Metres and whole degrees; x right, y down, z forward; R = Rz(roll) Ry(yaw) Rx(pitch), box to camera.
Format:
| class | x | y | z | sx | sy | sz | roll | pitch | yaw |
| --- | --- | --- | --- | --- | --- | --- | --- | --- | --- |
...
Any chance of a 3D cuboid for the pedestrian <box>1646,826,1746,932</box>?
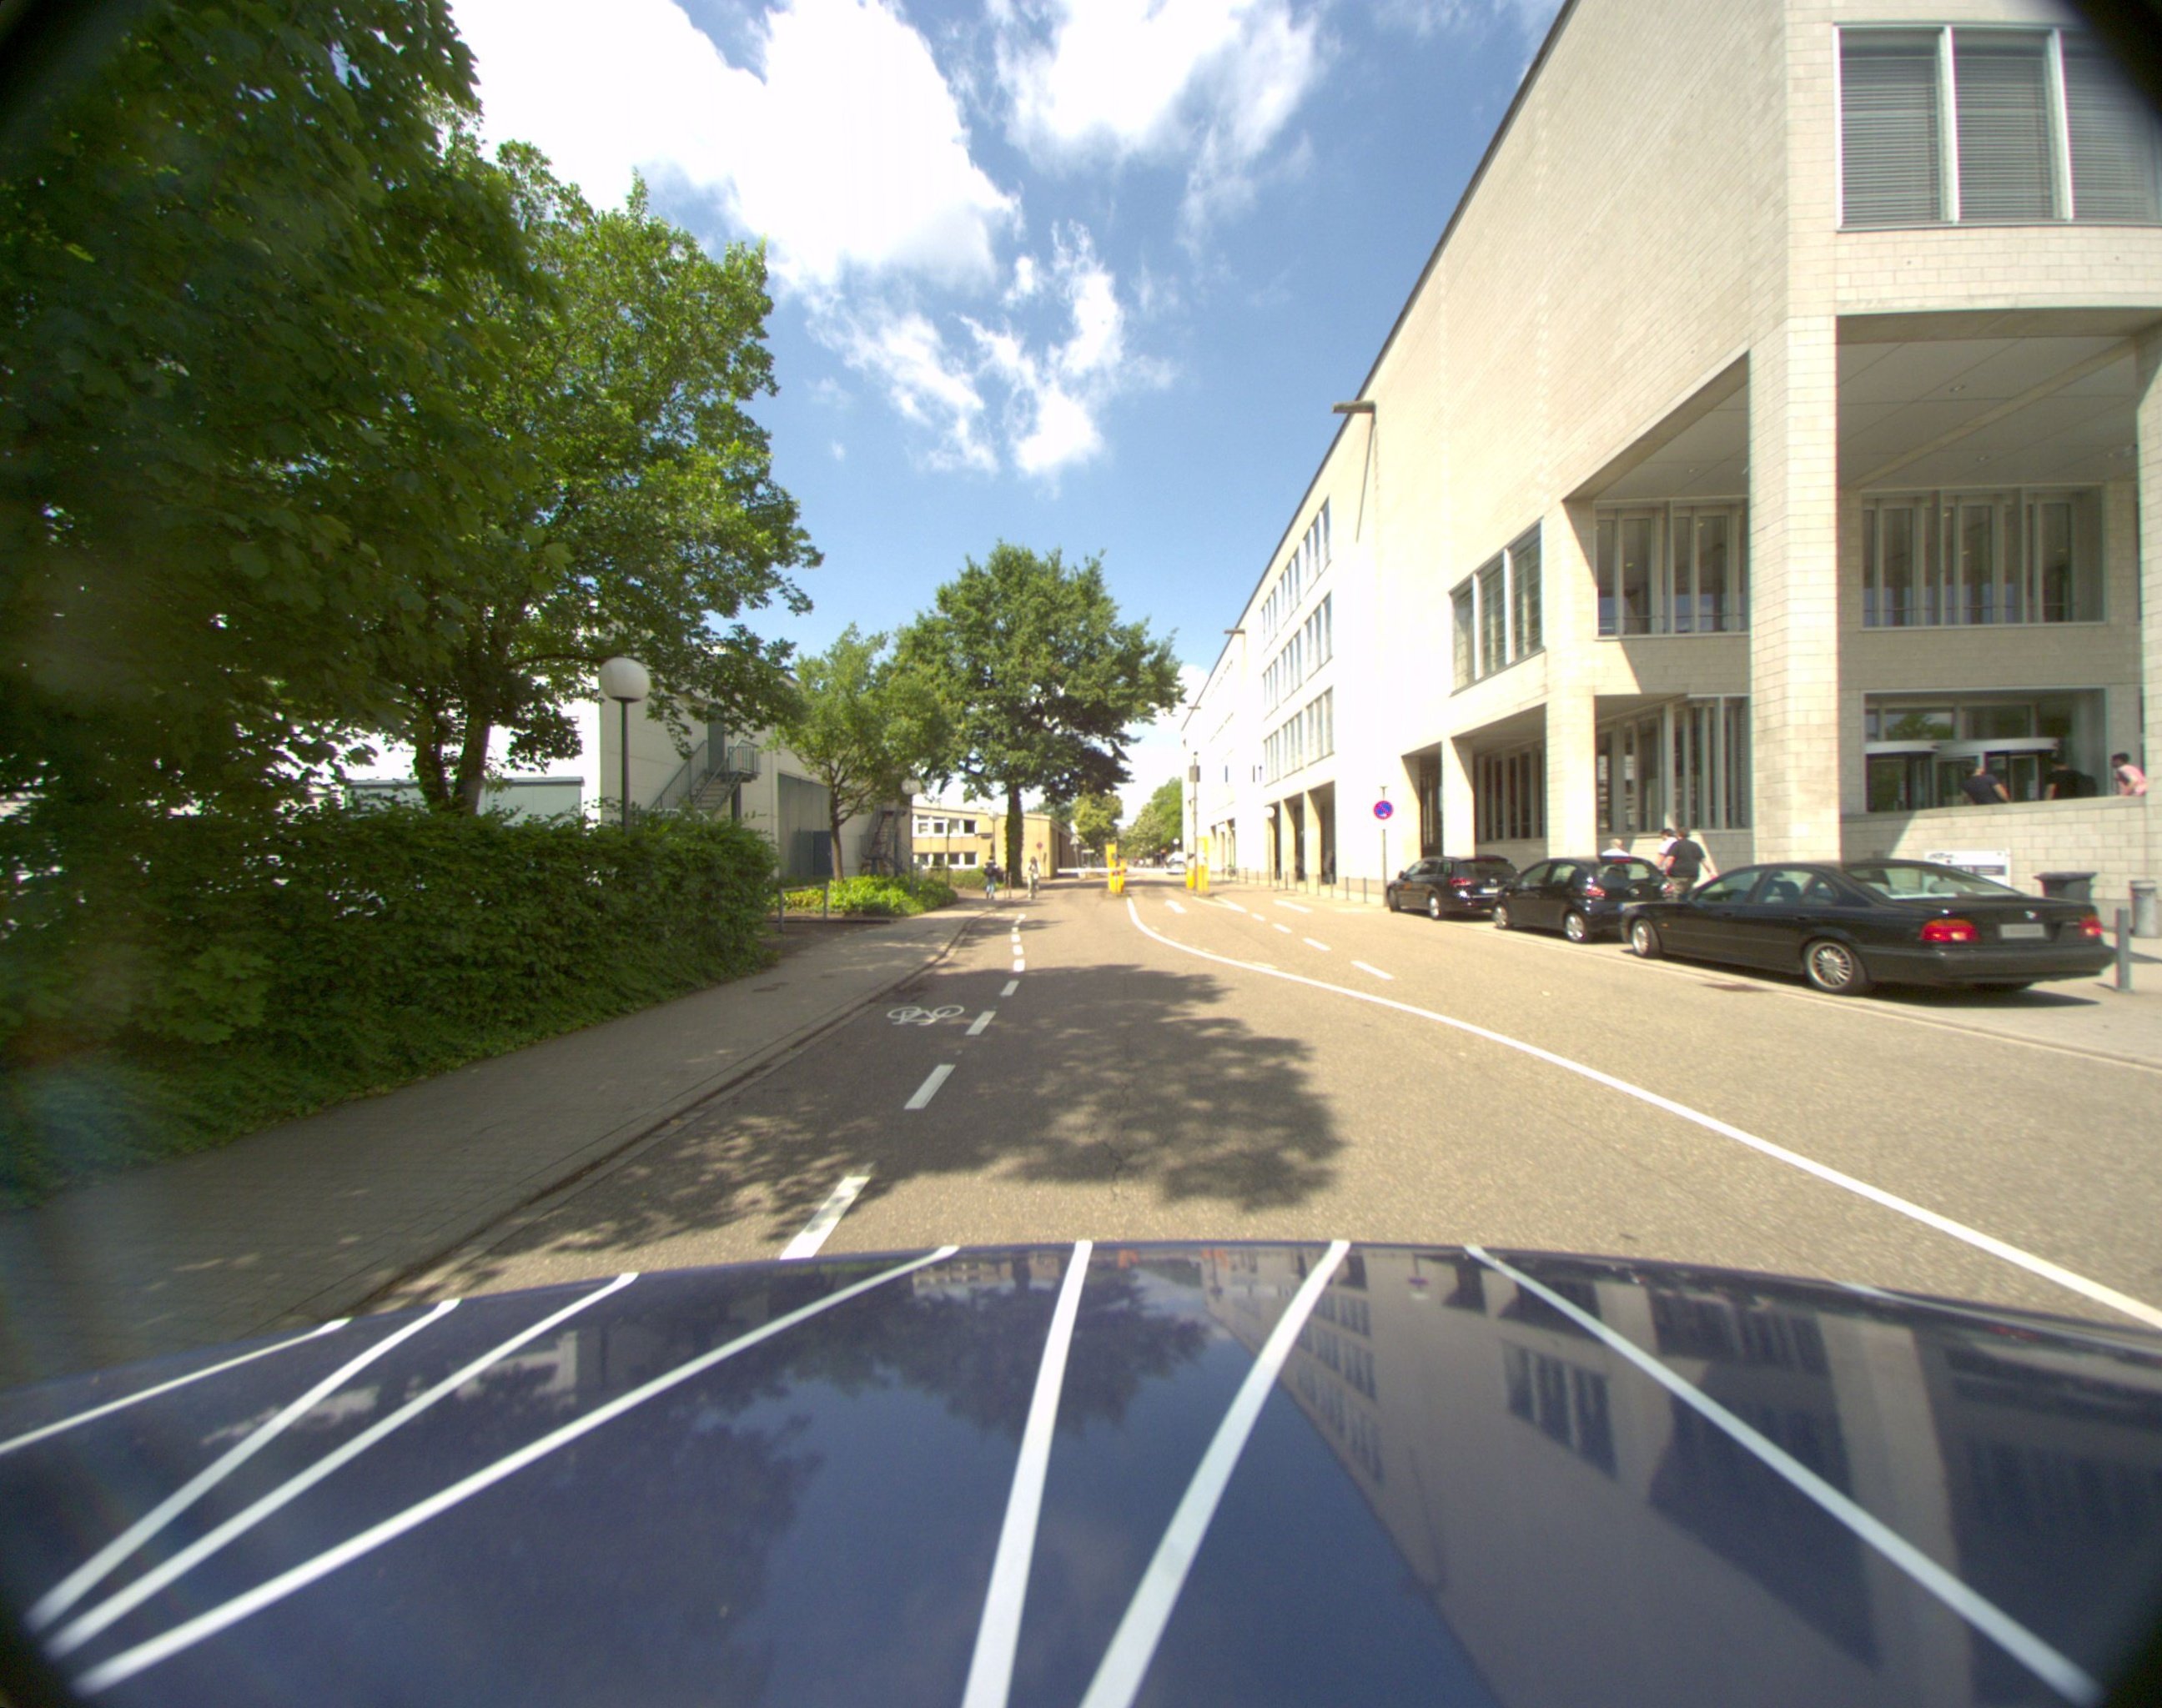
| class | x | y | z | sx | sy | sz | roll | pitch | yaw |
| --- | --- | --- | --- | --- | --- | --- | --- | --- | --- |
| pedestrian | 12.043 | 0.473 | 14.918 | 0.987 | 2.002 | 1.164 | -1 | 0 | -2 |

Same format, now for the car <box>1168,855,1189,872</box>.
| class | x | y | z | sx | sy | sz | roll | pitch | yaw |
| --- | --- | --- | --- | --- | --- | --- | --- | --- | --- |
| car | 10.118 | 0.975 | 78.945 | 1.730 | 1.526 | 4.406 | -3 | 0 | 3 |

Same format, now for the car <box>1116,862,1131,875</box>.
| class | x | y | z | sx | sy | sz | roll | pitch | yaw |
| --- | --- | --- | --- | --- | --- | --- | --- | --- | --- |
| car | 5.938 | 1.987 | 106.726 | 1.998 | 1.805 | 4.001 | -1 | 0 | 3 |

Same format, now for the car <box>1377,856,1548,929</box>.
| class | x | y | z | sx | sy | sz | roll | pitch | yaw |
| --- | --- | --- | --- | --- | --- | --- | --- | --- | --- |
| car | 8.991 | 0.833 | 18.431 | 1.864 | 1.458 | 4.719 | -3 | 0 | 2 |

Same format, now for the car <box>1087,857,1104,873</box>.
| class | x | y | z | sx | sy | sz | roll | pitch | yaw |
| --- | --- | --- | --- | --- | --- | --- | --- | --- | --- |
| car | 1.585 | 1.151 | 80.552 | 1.760 | 1.559 | 3.818 | 0 | 0 | 2 |

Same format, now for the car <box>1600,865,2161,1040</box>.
| class | x | y | z | sx | sy | sz | roll | pitch | yaw |
| --- | --- | --- | --- | --- | --- | --- | --- | --- | --- |
| car | 8.718 | 0.896 | 9.059 | 1.863 | 1.370 | 5.018 | -3 | 0 | 4 |

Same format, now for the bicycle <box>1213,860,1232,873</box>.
| class | x | y | z | sx | sy | sz | roll | pitch | yaw |
| --- | --- | --- | --- | --- | --- | --- | --- | --- | --- |
| bicycle | 13.006 | 1.138 | 69.791 | 1.643 | 1.080 | 0.608 | -2 | 0 | -3 |

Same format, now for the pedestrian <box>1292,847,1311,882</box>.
| class | x | y | z | sx | sy | sz | roll | pitch | yaw |
| --- | --- | --- | --- | --- | --- | --- | --- | --- | --- |
| pedestrian | 13.047 | 0.615 | 44.960 | 0.858 | 2.002 | 0.881 | -1 | 1 | 5 |

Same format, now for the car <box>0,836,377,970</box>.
| class | x | y | z | sx | sy | sz | roll | pitch | yaw |
| --- | --- | --- | --- | --- | --- | --- | --- | --- | --- |
| car | -14.871 | 0.753 | 12.453 | 4.836 | 2.002 | 2.062 | 0 | 0 | 3 |

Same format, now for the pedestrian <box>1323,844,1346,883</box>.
| class | x | y | z | sx | sy | sz | roll | pitch | yaw |
| --- | --- | --- | --- | --- | --- | --- | --- | --- | --- |
| pedestrian | 13.318 | 0.500 | 39.968 | 0.850 | 2.002 | 1.066 | 0 | 0 | 0 |

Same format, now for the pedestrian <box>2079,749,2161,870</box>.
| class | x | y | z | sx | sy | sz | roll | pitch | yaw |
| --- | --- | --- | --- | --- | --- | --- | --- | --- | --- |
| pedestrian | 19.088 | -0.796 | 13.863 | 0.705 | 2.133 | 0.804 | -2 | 1 | -10 |

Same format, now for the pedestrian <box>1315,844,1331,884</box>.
| class | x | y | z | sx | sy | sz | roll | pitch | yaw |
| --- | --- | --- | --- | --- | --- | --- | --- | --- | --- |
| pedestrian | 12.539 | 0.514 | 39.358 | 0.544 | 2.002 | 0.835 | -1 | 1 | 5 |

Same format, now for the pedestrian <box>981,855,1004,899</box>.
| class | x | y | z | sx | sy | sz | roll | pitch | yaw |
| --- | --- | --- | --- | --- | --- | --- | --- | --- | --- |
| pedestrian | -3.427 | 0.887 | 29.555 | 0.741 | 1.665 | 1.256 | -1 | 0 | -1 |

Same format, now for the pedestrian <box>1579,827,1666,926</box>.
| class | x | y | z | sx | sy | sz | roll | pitch | yaw |
| --- | --- | --- | --- | --- | --- | --- | --- | --- | --- |
| pedestrian | 11.522 | 0.465 | 16.209 | 0.987 | 2.002 | 1.164 | -1 | 0 | -2 |

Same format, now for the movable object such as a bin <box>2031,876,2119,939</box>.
| class | x | y | z | sx | sy | sz | roll | pitch | yaw |
| --- | --- | --- | --- | --- | --- | --- | --- | --- | --- |
| movable object such as a bin | 15.357 | 0.815 | 11.754 | 0.577 | 0.924 | 0.595 | -1 | 0 | 3 |

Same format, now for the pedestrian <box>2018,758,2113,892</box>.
| class | x | y | z | sx | sy | sz | roll | pitch | yaw |
| --- | --- | --- | --- | --- | --- | --- | --- | --- | --- |
| pedestrian | 18.176 | -0.515 | 14.046 | 0.759 | 2.408 | 0.738 | -1 | 0 | 5 |

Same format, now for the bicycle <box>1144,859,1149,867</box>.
| class | x | y | z | sx | sy | sz | roll | pitch | yaw |
| --- | --- | --- | --- | --- | --- | --- | --- | --- | --- |
| bicycle | 11.299 | 1.555 | 131.766 | 0.639 | 1.485 | 1.936 | -1 | 0 | 1 |

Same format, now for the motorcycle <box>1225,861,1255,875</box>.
| class | x | y | z | sx | sy | sz | roll | pitch | yaw |
| --- | --- | --- | --- | --- | --- | --- | --- | --- | --- |
| motorcycle | 12.672 | 1.124 | 60.564 | 2.172 | 1.131 | 0.774 | -1 | 0 | -8 |

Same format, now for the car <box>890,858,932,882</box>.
| class | x | y | z | sx | sy | sz | roll | pitch | yaw |
| --- | --- | --- | --- | --- | --- | --- | --- | --- | --- |
| car | -11.076 | 1.027 | 49.824 | 1.671 | 1.468 | 4.182 | -1 | 0 | 2 |

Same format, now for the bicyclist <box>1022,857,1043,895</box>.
| class | x | y | z | sx | sy | sz | roll | pitch | yaw |
| --- | --- | --- | --- | --- | --- | --- | --- | --- | --- |
| bicyclist | -1.907 | 0.878 | 30.089 | 0.781 | 1.478 | 0.696 | 0 | 0 | 1 |

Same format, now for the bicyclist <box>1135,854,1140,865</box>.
| class | x | y | z | sx | sy | sz | roll | pitch | yaw |
| --- | --- | --- | --- | --- | --- | --- | --- | --- | --- |
| bicyclist | 9.671 | 0.972 | 130.890 | 0.761 | 1.766 | 0.733 | -1 | 1 | 1 |

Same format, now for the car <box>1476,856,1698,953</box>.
| class | x | y | z | sx | sy | sz | roll | pitch | yaw |
| --- | --- | --- | --- | --- | --- | --- | --- | --- | --- |
| car | 9.011 | 0.811 | 13.934 | 1.642 | 1.458 | 3.707 | -3 | 0 | 2 |

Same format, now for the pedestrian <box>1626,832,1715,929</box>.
| class | x | y | z | sx | sy | sz | roll | pitch | yaw |
| --- | --- | --- | --- | --- | --- | --- | --- | --- | --- |
| pedestrian | 12.583 | 0.552 | 16.263 | 0.987 | 2.002 | 1.164 | -1 | 0 | -2 |

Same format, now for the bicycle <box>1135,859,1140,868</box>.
| class | x | y | z | sx | sy | sz | roll | pitch | yaw |
| --- | --- | --- | --- | --- | --- | --- | --- | --- | --- |
| bicycle | 9.718 | 1.565 | 130.968 | 0.797 | 1.485 | 2.062 | -1 | 0 | 1 |

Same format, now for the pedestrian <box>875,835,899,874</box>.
| class | x | y | z | sx | sy | sz | roll | pitch | yaw |
| --- | --- | --- | --- | --- | --- | --- | --- | --- | --- |
| pedestrian | -10.230 | 0.024 | 40.078 | 0.929 | 2.002 | 0.950 | 0 | 0 | 6 |

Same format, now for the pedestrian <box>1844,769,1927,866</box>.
| class | x | y | z | sx | sy | sz | roll | pitch | yaw |
| --- | --- | --- | --- | --- | --- | --- | --- | --- | --- |
| pedestrian | 17.207 | -0.763 | 16.261 | 0.746 | 2.002 | 0.979 | -2 | 1 | -18 |

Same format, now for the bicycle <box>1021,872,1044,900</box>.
| class | x | y | z | sx | sy | sz | roll | pitch | yaw |
| --- | --- | --- | --- | --- | --- | --- | --- | --- | --- |
| bicycle | -1.906 | 1.266 | 30.159 | 0.781 | 1.042 | 1.913 | 0 | 0 | 0 |

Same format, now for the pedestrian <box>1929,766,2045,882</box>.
| class | x | y | z | sx | sy | sz | roll | pitch | yaw |
| --- | --- | --- | --- | --- | --- | --- | --- | --- | --- |
| pedestrian | 16.356 | -0.516 | 13.747 | 0.980 | 2.002 | 0.910 | -1 | 1 | 2 |

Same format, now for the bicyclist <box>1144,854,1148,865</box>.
| class | x | y | z | sx | sy | sz | roll | pitch | yaw |
| --- | --- | --- | --- | --- | --- | --- | --- | --- | --- |
| bicyclist | 11.267 | 0.969 | 131.757 | 0.609 | 1.754 | 0.697 | -1 | 1 | 1 |
